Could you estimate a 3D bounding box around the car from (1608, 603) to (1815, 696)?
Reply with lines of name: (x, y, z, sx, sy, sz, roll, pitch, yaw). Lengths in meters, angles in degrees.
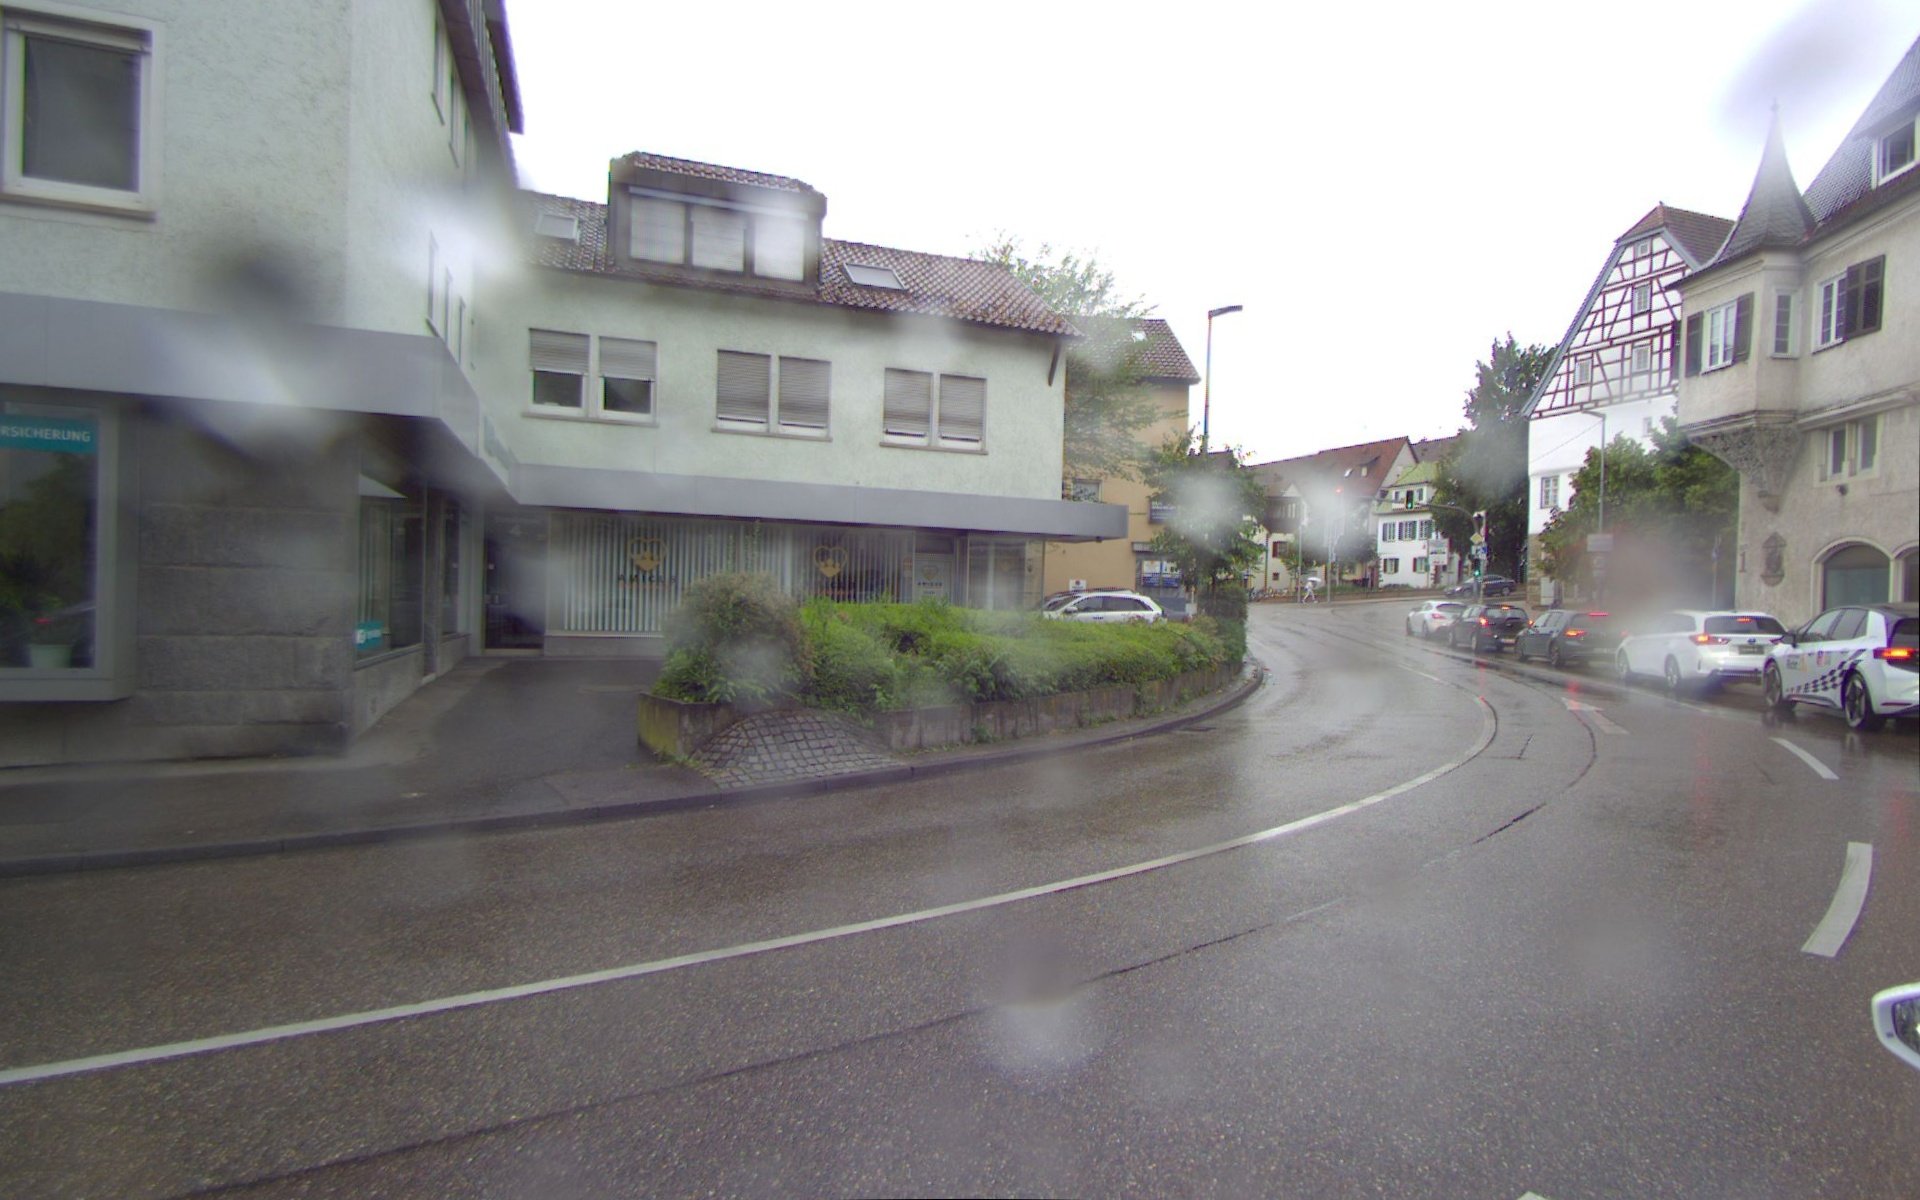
car: (13.943, 0.841, 18.950, 1.755, 1.485, 4.165, 0, 1, 16)

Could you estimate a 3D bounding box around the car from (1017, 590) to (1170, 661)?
car: (3.301, 0.623, 25.194, 3.472, 1.708, 1.710, 0, 1, -8)

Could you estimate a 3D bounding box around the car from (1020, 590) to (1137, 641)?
car: (3.815, 0.491, 32.696, 3.472, 1.597, 1.710, 0, 1, -8)

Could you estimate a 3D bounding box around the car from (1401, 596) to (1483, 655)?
car: (18.616, 0.936, 38.976, 1.939, 2.118, 3.963, -1, 1, 11)

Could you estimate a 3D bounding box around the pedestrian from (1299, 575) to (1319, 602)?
pedestrian: (23.704, -0.776, 68.146, 1.126, 1.765, 1.006, 1, 0, 11)

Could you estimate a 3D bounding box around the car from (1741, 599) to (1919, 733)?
car: (12.138, 0.774, 13.286, 1.760, 1.537, 4.239, -1, -1, 22)

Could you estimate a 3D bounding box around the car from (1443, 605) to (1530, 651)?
car: (16.937, 0.861, 32.465, 1.634, 1.330, 3.625, -1, 1, 13)

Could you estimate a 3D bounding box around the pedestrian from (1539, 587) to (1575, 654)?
pedestrian: (21.498, 0.721, 36.198, 0.851, 2.357, 1.231, 1, 0, 18)

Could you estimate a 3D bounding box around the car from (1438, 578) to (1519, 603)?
car: (33.527, -0.622, 64.979, 4.446, 1.409, 1.648, 1, 7, -8)

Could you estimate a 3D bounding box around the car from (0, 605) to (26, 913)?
car: (-6.382, 0.763, 3.509, 4.219, 1.530, 1.725, 0, -1, -28)

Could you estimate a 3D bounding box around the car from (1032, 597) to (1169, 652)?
car: (3.895, 0.676, 28.170, 3.472, 1.475, 1.710, 0, 1, -8)

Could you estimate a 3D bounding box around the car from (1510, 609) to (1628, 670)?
car: (15.644, 0.966, 25.986, 1.493, 1.380, 3.769, 0, 1, 13)
